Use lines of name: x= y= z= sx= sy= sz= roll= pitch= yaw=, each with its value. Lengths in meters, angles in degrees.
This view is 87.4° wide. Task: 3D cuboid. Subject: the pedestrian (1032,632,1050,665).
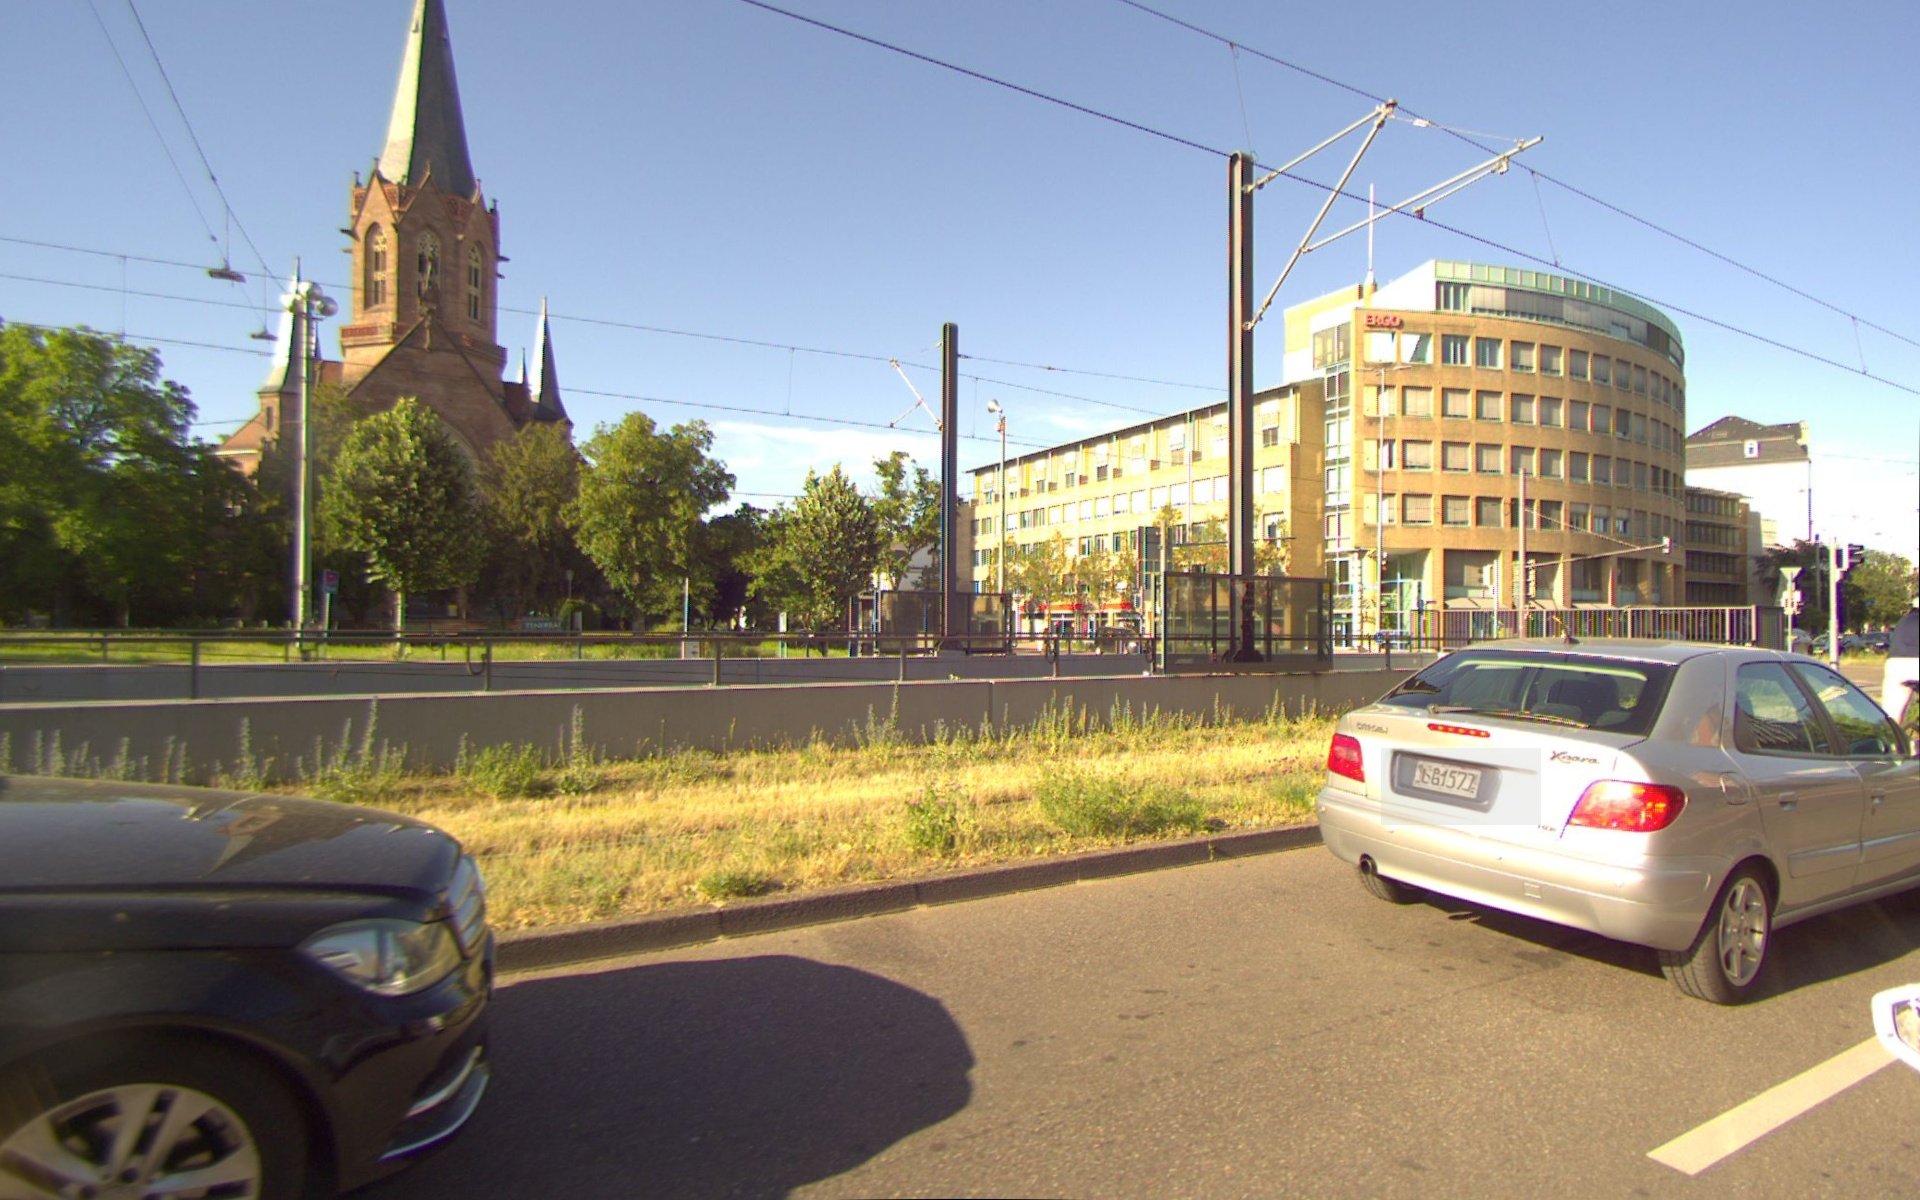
pedestrian: x=3.614 y=2.160 z=44.758 sx=0.484 sy=1.447 sz=0.609 roll=1 pitch=1 yaw=-30

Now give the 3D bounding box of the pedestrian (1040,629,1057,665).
pedestrian: x=3.859 y=2.070 z=43.988 sx=0.561 sy=1.552 sz=0.440 roll=1 pitch=1 yaw=-30

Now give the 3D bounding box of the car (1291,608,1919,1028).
car: x=3.733 y=0.803 z=5.206 sx=3.953 sy=1.440 sz=1.636 roll=1 pitch=0 yaw=-31

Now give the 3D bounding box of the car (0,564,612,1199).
car: x=-3.114 y=0.663 z=1.908 sx=4.363 sy=1.490 sz=1.717 roll=1 pitch=-1 yaw=-33

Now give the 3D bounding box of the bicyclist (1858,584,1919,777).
bicyclist: x=8.180 y=0.669 z=8.523 sx=0.678 sy=1.593 sz=0.614 roll=1 pitch=1 yaw=-29

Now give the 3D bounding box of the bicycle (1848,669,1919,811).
bicycle: x=8.217 y=1.144 z=8.530 sx=1.931 sy=1.071 sz=0.372 roll=1 pitch=0 yaw=-29
